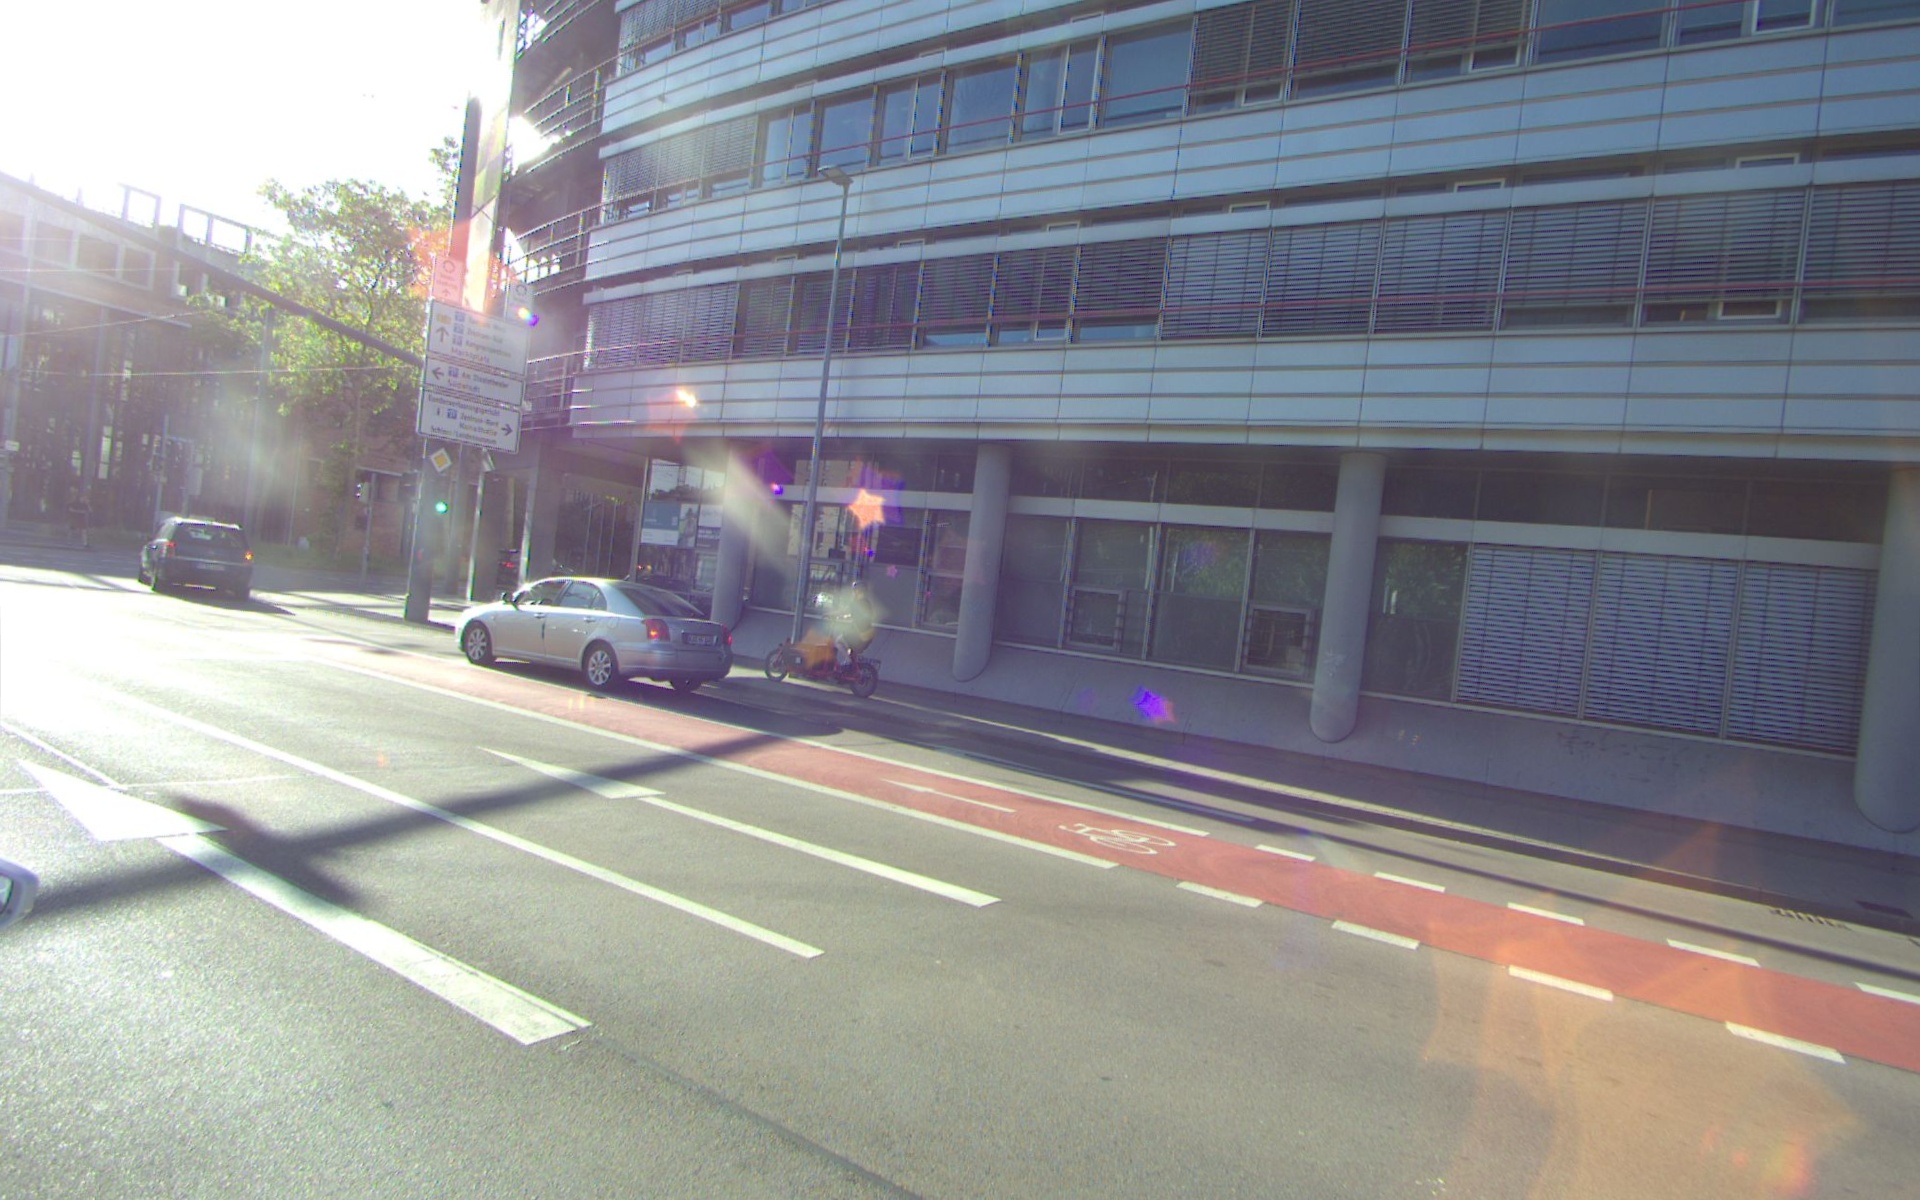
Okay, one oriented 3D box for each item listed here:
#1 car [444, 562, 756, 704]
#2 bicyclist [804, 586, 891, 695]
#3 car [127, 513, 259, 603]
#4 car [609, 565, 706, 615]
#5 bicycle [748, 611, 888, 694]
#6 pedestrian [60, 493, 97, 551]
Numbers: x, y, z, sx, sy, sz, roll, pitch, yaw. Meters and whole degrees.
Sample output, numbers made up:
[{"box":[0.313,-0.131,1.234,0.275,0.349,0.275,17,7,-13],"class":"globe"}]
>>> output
[{"box":[-5.291,0.441,14.629,4.413,1.448,1.753,7,0,30],"class":"car"},{"box":[-1.780,0.643,15.919,1.025,1.586,0.625,7,1,27],"class":"bicyclist"},{"box":[-17.612,-1.003,23.018,4.404,1.649,1.684,6,-1,44],"class":"car"},{"box":[-13.448,-0.423,45.000,1.832,1.670,4.000,7,-2,24],"class":"car"},{"box":[-2.297,0.837,16.186,2.165,1.045,0.500,7,1,22],"class":"bicycle"},{"box":[-29.071,-2.562,33.198,0.701,1.781,0.556,6,1,-33],"class":"pedestrian"}]
